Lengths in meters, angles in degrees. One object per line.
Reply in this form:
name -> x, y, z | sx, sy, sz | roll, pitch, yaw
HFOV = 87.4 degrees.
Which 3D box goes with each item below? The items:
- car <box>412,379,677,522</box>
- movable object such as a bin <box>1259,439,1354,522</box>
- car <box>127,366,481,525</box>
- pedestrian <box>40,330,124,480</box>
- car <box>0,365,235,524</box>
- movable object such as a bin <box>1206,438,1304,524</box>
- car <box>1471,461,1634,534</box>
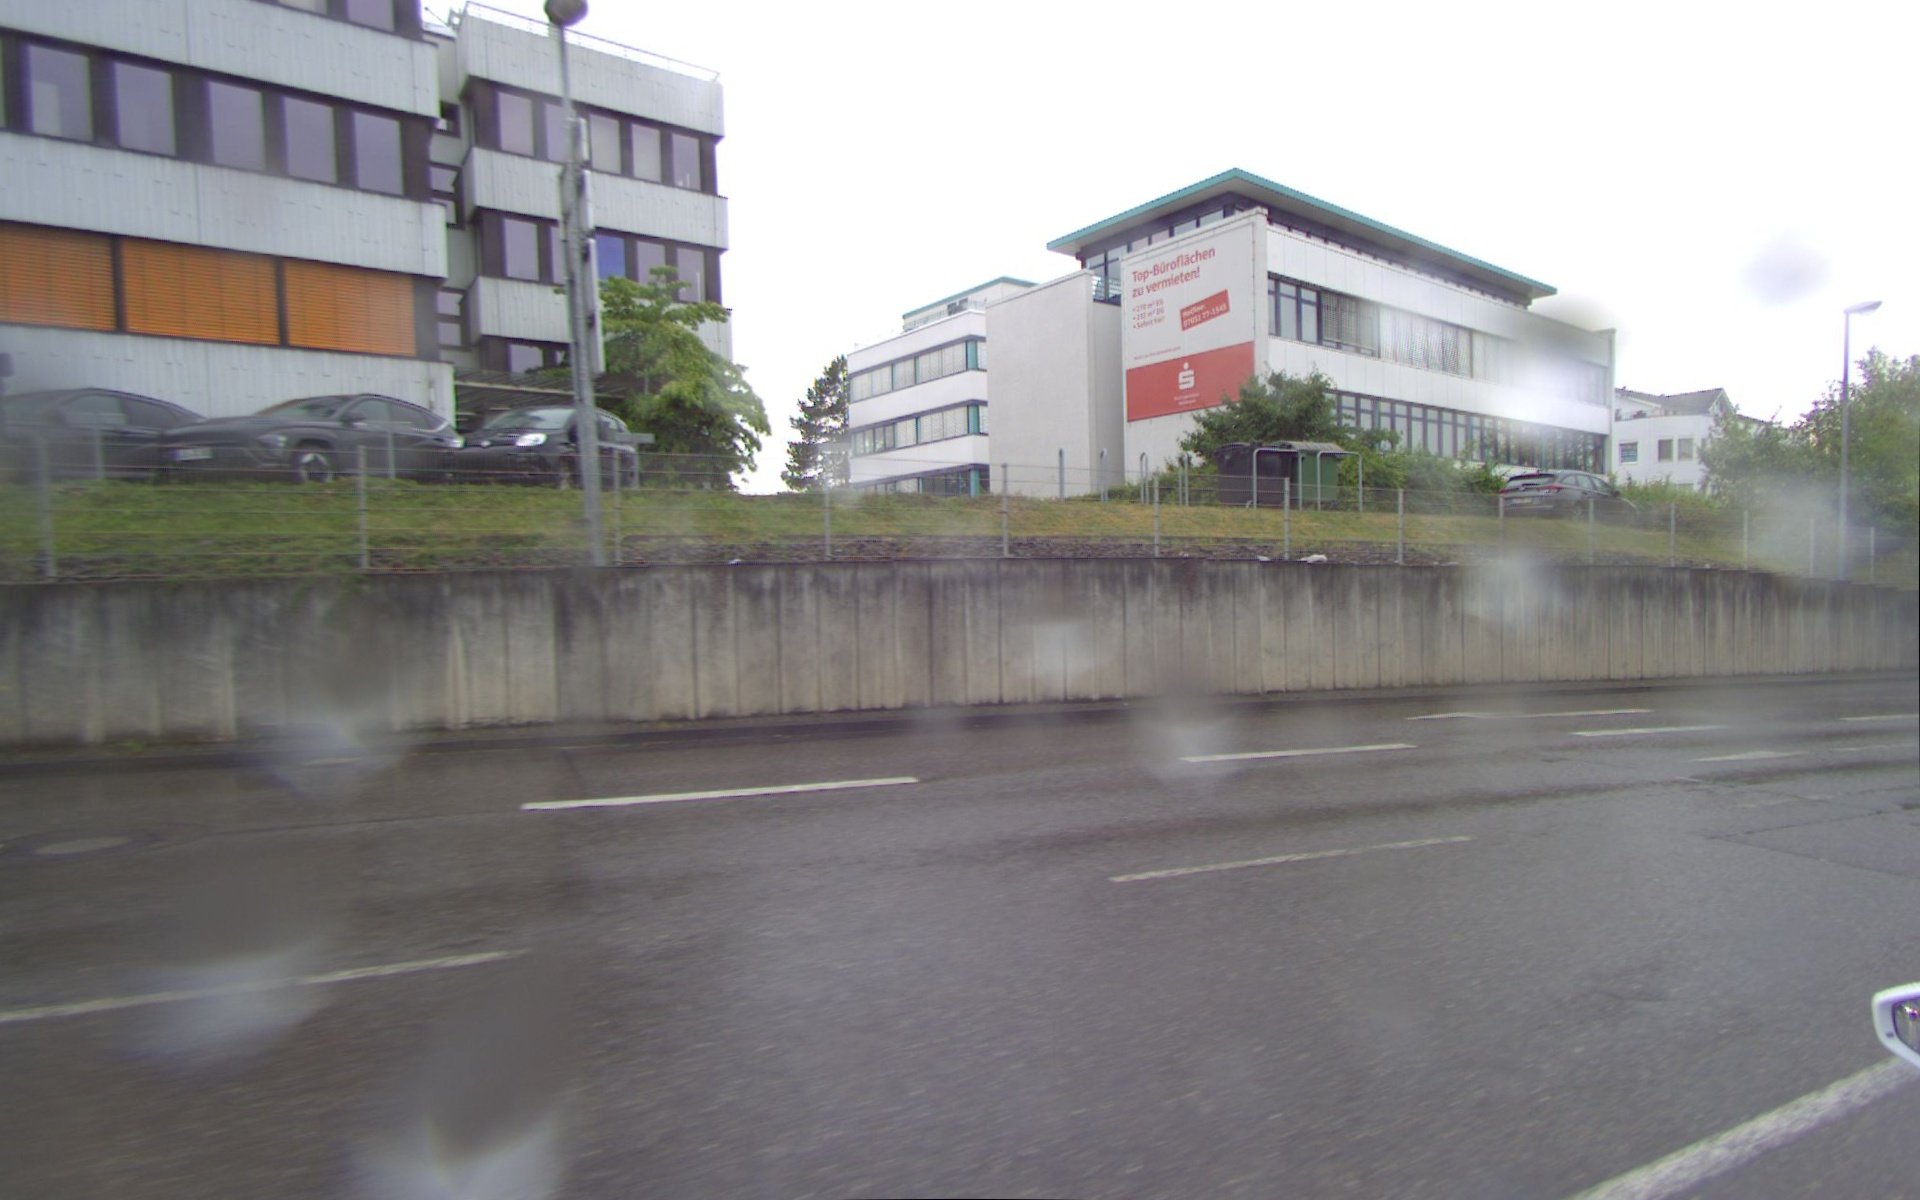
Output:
car -> -6.033, -2.127, 15.161 | 1.864, 1.607, 4.002 | 2, 1, 8
movable object such as a bin -> 6.889, -2.339, 19.980 | 1.430, 1.456, 1.078 | 1, 2, -31
car -> -8.671, -1.974, 13.774 | 1.864, 1.607, 4.002 | 2, 1, 8
pedestrian -> -9.850, -2.166, 11.285 | 0.492, 1.571, 0.520 | 0, 1, -5
car -> -11.610, -1.891, 12.641 | 1.864, 1.607, 4.001 | 2, 1, 5
movable object such as a bin -> 5.635, -2.238, 19.225 | 1.430, 1.456, 1.078 | 1, 2, -31
car -> 14.826, -2.499, 25.104 | 3.954, 1.461, 1.818 | 1, 2, -31
